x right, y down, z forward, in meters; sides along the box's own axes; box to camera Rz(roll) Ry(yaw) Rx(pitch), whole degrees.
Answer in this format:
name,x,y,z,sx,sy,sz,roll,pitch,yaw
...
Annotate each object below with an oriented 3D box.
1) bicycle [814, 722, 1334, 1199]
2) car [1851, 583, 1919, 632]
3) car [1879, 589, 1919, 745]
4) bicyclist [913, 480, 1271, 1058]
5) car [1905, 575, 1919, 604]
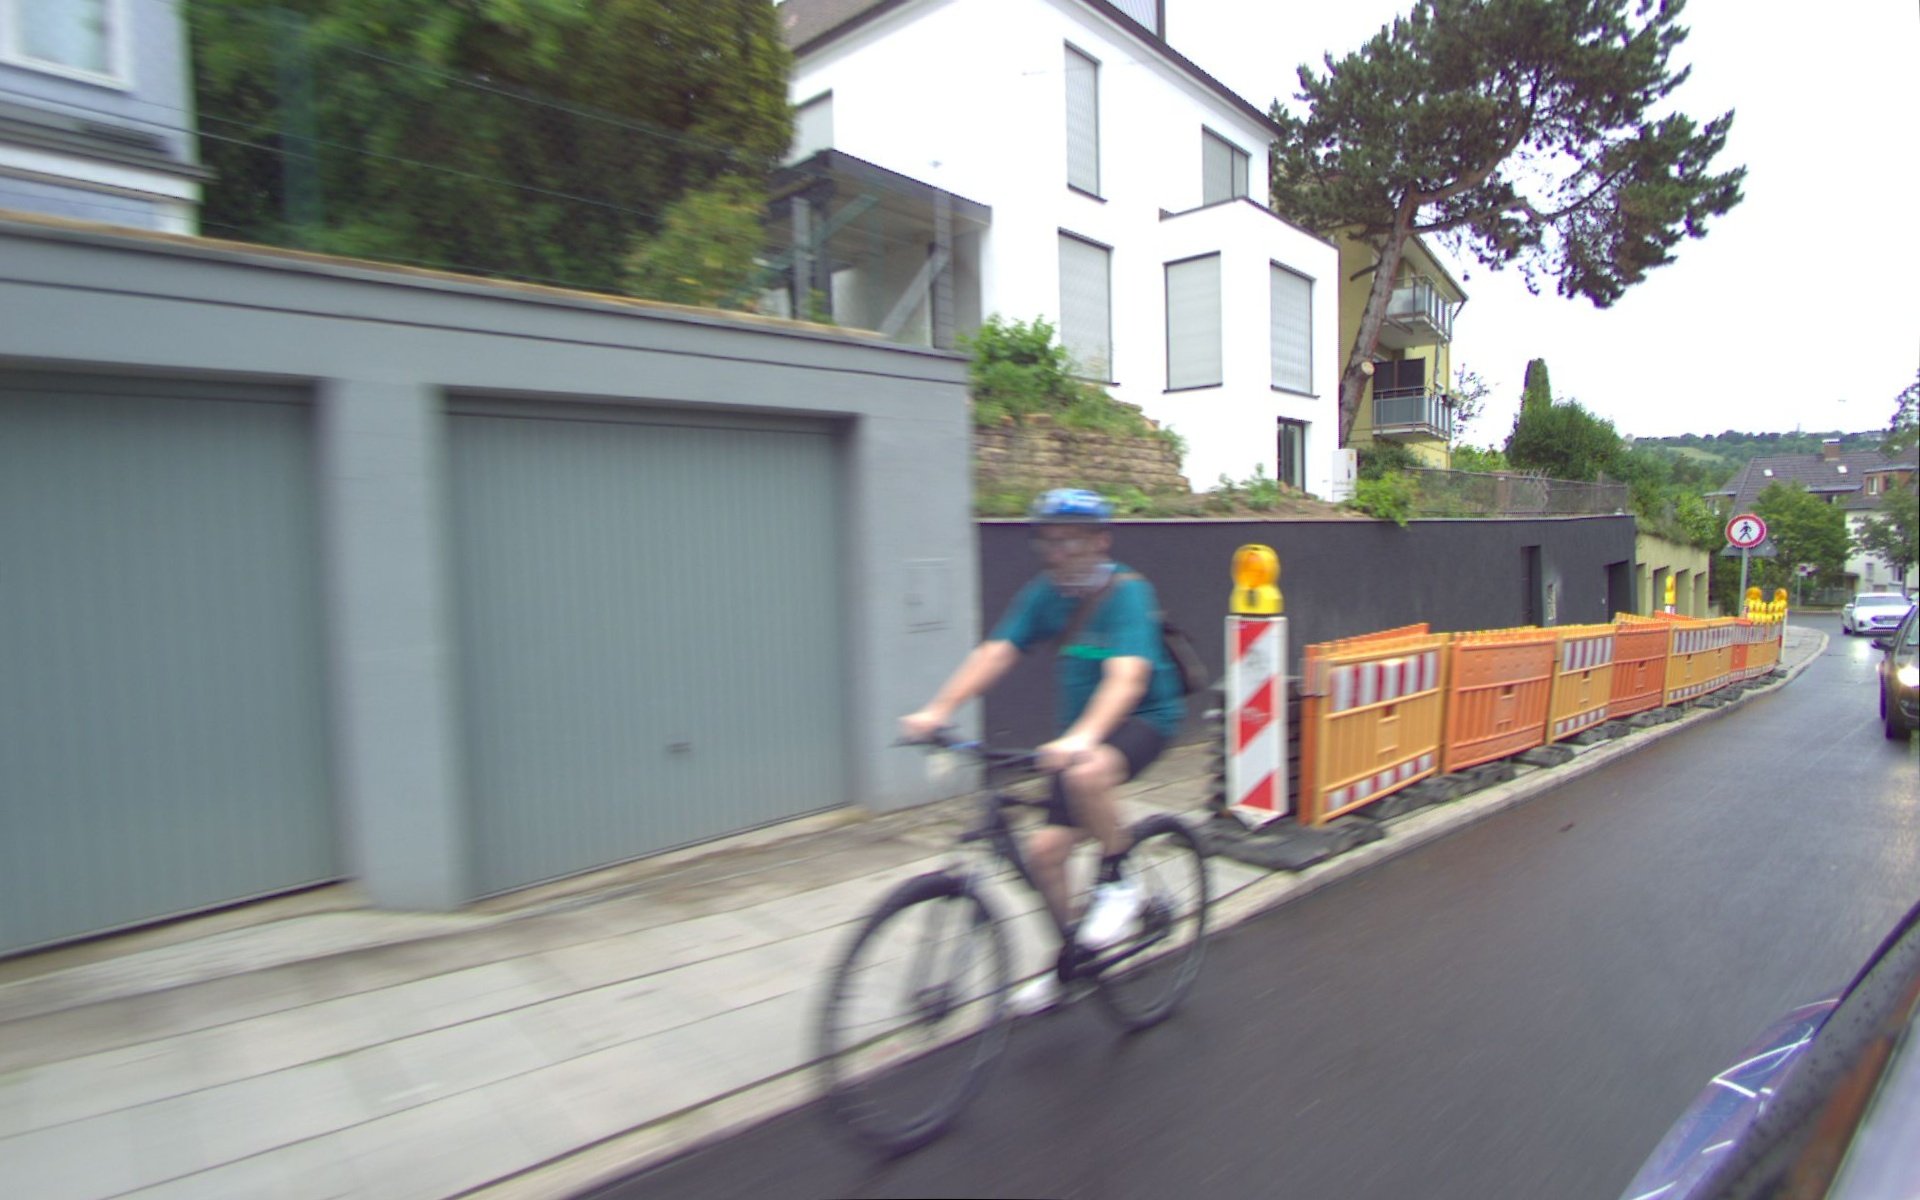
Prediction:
name,x,y,z,sx,sy,sz,roll,pitch,yaw
bicycle,0.432,0.983,3.186,1.642,0.977,0.731,-1,0,-43
car,35.631,0.260,38.631,1.989,1.730,4.516,-1,1,36
car,11.625,0.648,11.414,1.668,1.484,4.648,-1,1,40
bicyclist,0.419,0.429,3.178,0.871,1.491,0.726,0,0,-42
car,50.122,-0.557,51.305,1.652,1.484,3.875,-1,1,16
